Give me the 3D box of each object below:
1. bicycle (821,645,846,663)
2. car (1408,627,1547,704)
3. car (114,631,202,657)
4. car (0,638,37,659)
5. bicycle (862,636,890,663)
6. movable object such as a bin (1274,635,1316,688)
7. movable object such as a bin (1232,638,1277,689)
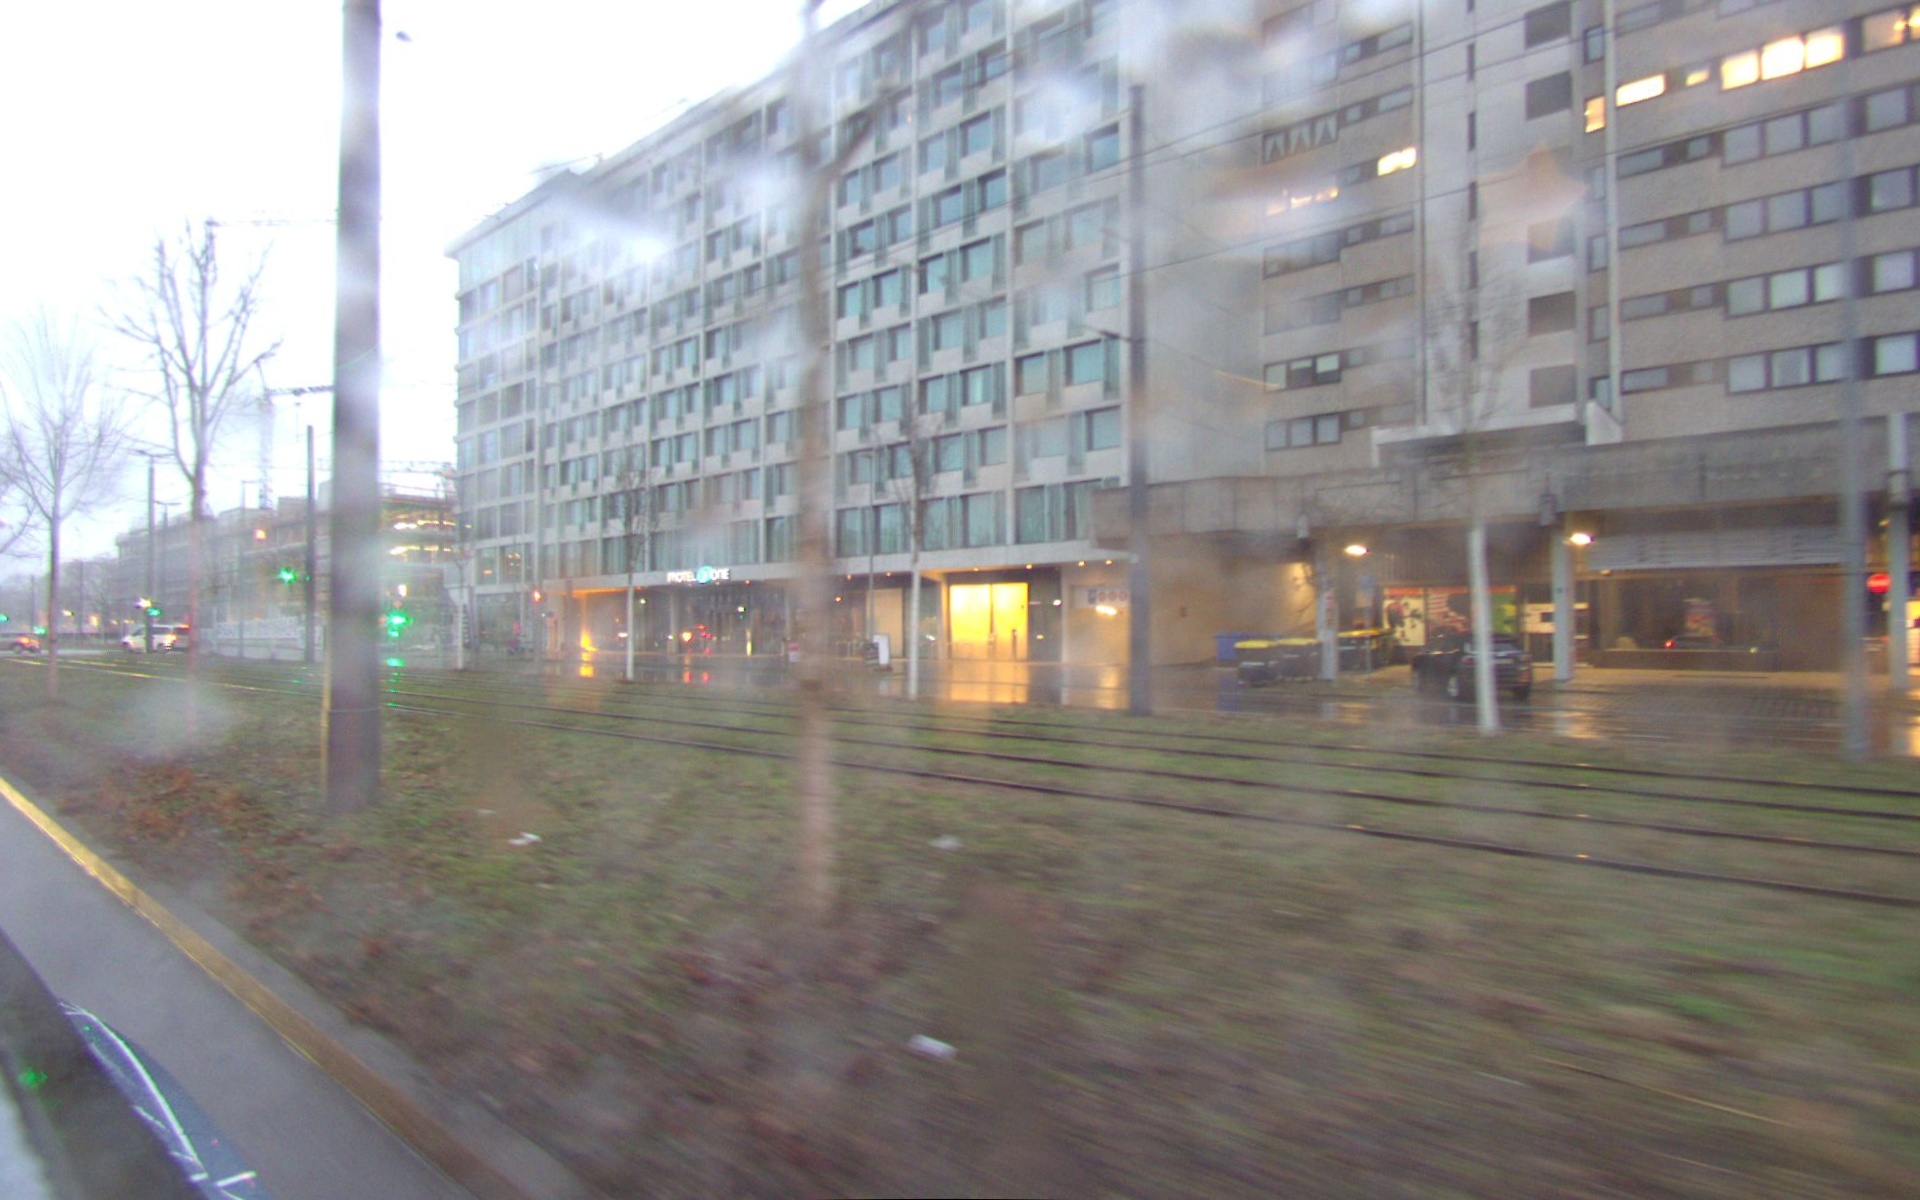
[{"bbox_3d":[-6.489,2.777,51.959,0.465,0.860,1.332,-1,0,39],"label":"bicycle"},{"bbox_3d":[13.334,1.637,26.379,1.962,1.706,4.131,-1,0,9],"label":"car"},{"bbox_3d":[-53.218,2.886,67.155,4.999,1.682,2.077,-1,-2,17],"label":"car"},{"bbox_3d":[-63.608,3.199,66.532,3.932,1.317,1.823,0,-2,-16],"label":"car"},{"bbox_3d":[-4.204,2.459,50.594,0.465,1.247,1.520,-1,0,39],"label":"bicycle"},{"bbox_3d":[10.051,1.824,30.339,1.008,1.512,1.042,-1,0,30],"label":"movable object such as a bin"},{"bbox_3d":[8.698,1.855,29.885,1.027,1.437,1.063,-1,0,30],"label":"movable object such as a bin"}]
